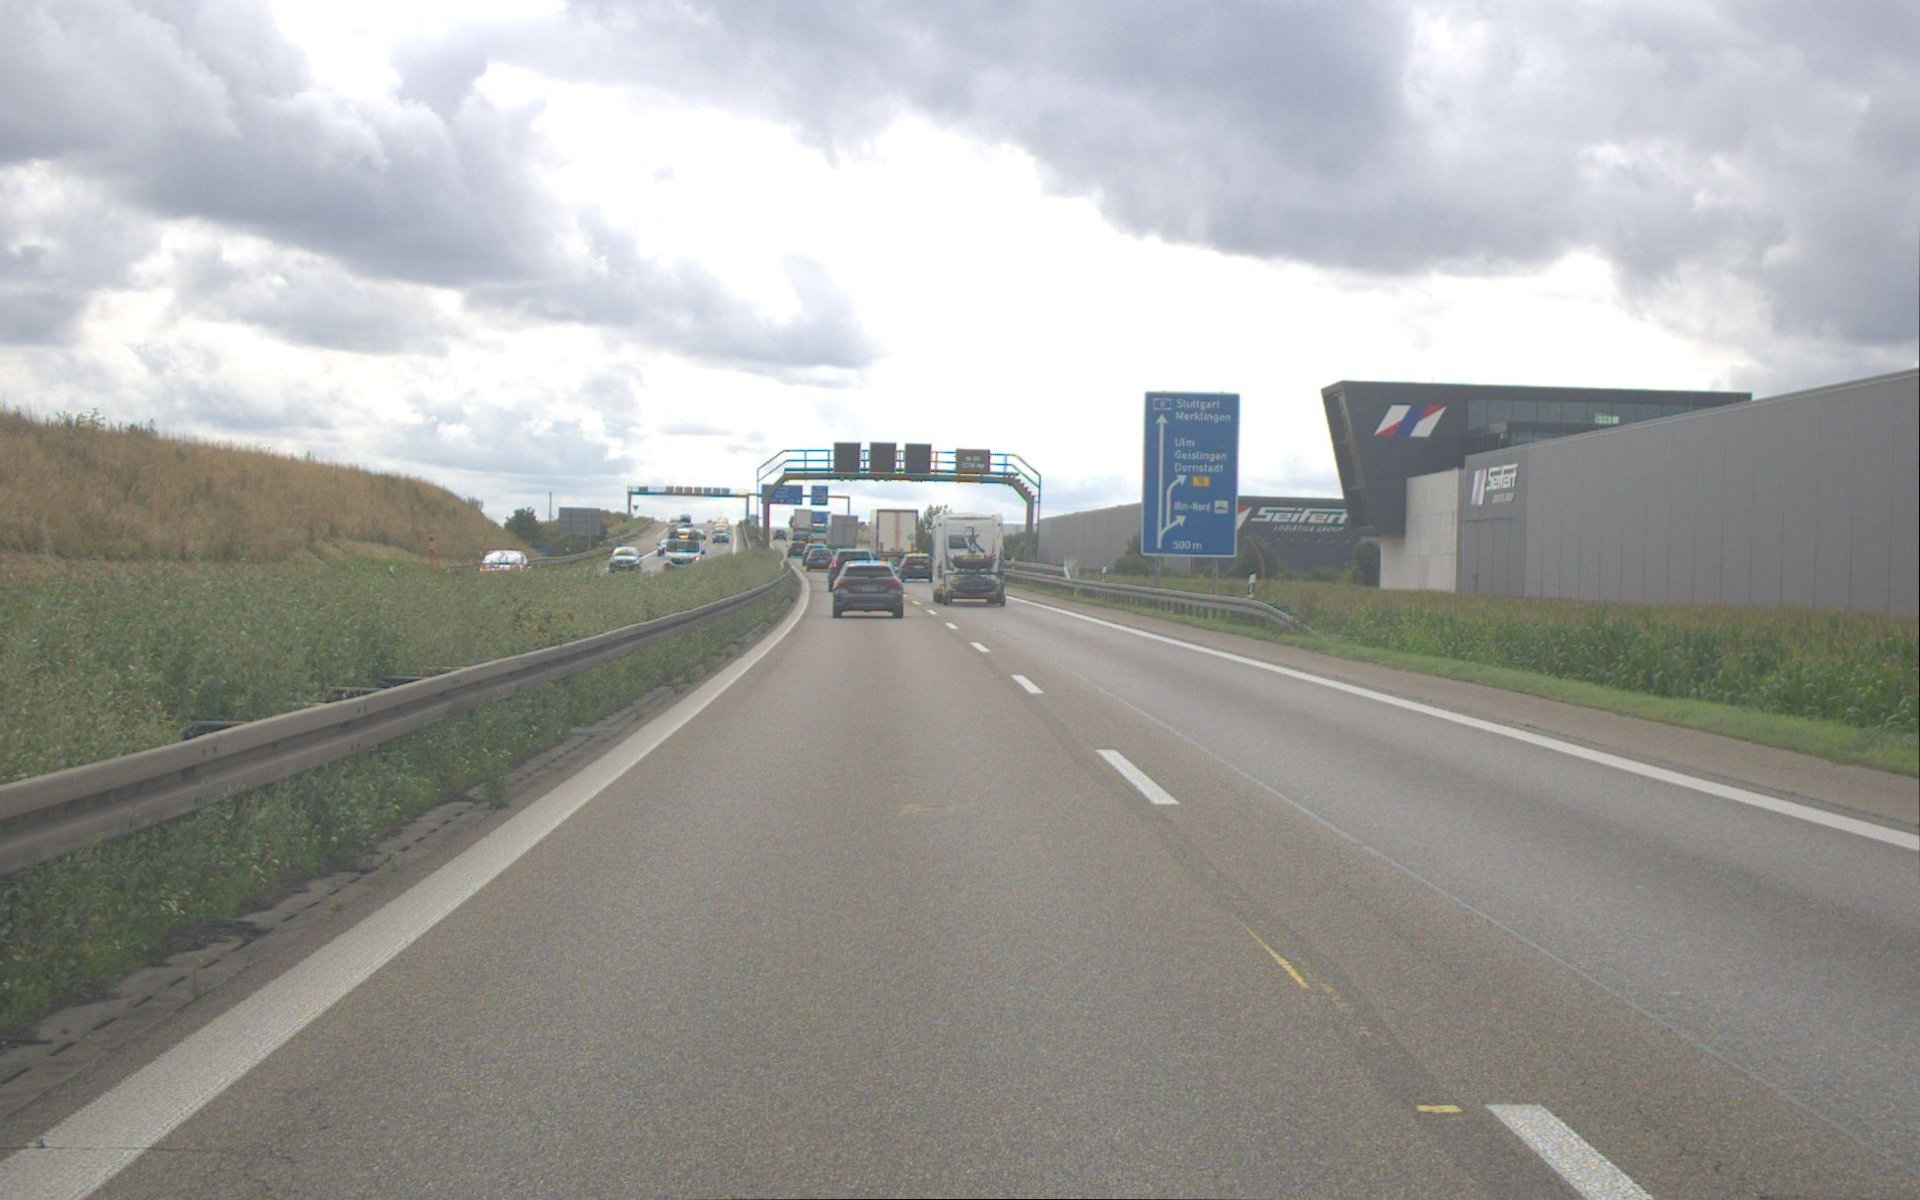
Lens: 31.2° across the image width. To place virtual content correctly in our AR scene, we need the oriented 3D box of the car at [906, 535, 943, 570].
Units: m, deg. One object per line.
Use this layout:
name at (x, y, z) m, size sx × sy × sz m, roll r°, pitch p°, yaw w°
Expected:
car at (-1.822, -2.409, 174.756) m, size 1.801 × 1.679 × 4.000 m, roll 1°, pitch 1°, yaw -1°

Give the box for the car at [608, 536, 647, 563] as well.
car at (-18.158, -2.744, 187.942) m, size 1.772 × 1.449 × 4.000 m, roll 1°, pitch 1°, yaw -1°

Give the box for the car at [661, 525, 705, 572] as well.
car at (-14.248, -2.646, 177.127) m, size 1.993 × 2.340 × 5.872 m, roll 1°, pitch 1°, yaw -2°

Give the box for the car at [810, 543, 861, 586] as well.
car at (-5.080, -1.453, 140.637) m, size 1.945 × 1.679 × 4.000 m, roll 1°, pitch 1°, yaw -1°

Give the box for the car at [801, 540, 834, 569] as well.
car at (-9.059, -2.886, 218.843) m, size 1.943 × 1.769 × 3.696 m, roll 1°, pitch 1°, yaw -1°

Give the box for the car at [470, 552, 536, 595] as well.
car at (-15.625, -0.914, 117.708) m, size 1.724 × 1.399 × 4.342 m, roll 1°, pitch 1°, yaw -1°

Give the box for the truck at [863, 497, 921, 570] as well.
truck at (-4.384, -4.196, 220.020) m, size 3.339 × 4.519 × 8.018 m, roll 1°, pitch 0°, yaw -3°

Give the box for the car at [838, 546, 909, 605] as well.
car at (-2.192, -0.630, 88.058) m, size 1.746 × 1.448 × 4.000 m, roll 1°, pitch 1°, yaw -1°

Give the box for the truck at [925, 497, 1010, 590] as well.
truck at (0.217, -1.862, 114.357) m, size 2.482 × 2.940 × 5.815 m, roll 1°, pitch 1°, yaw -3°

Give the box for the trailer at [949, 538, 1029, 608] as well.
trailer at (0.884, -0.847, 107.622) m, size 2.338 × 2.129 × 4.000 m, roll 1°, pitch 1°, yaw -1°
